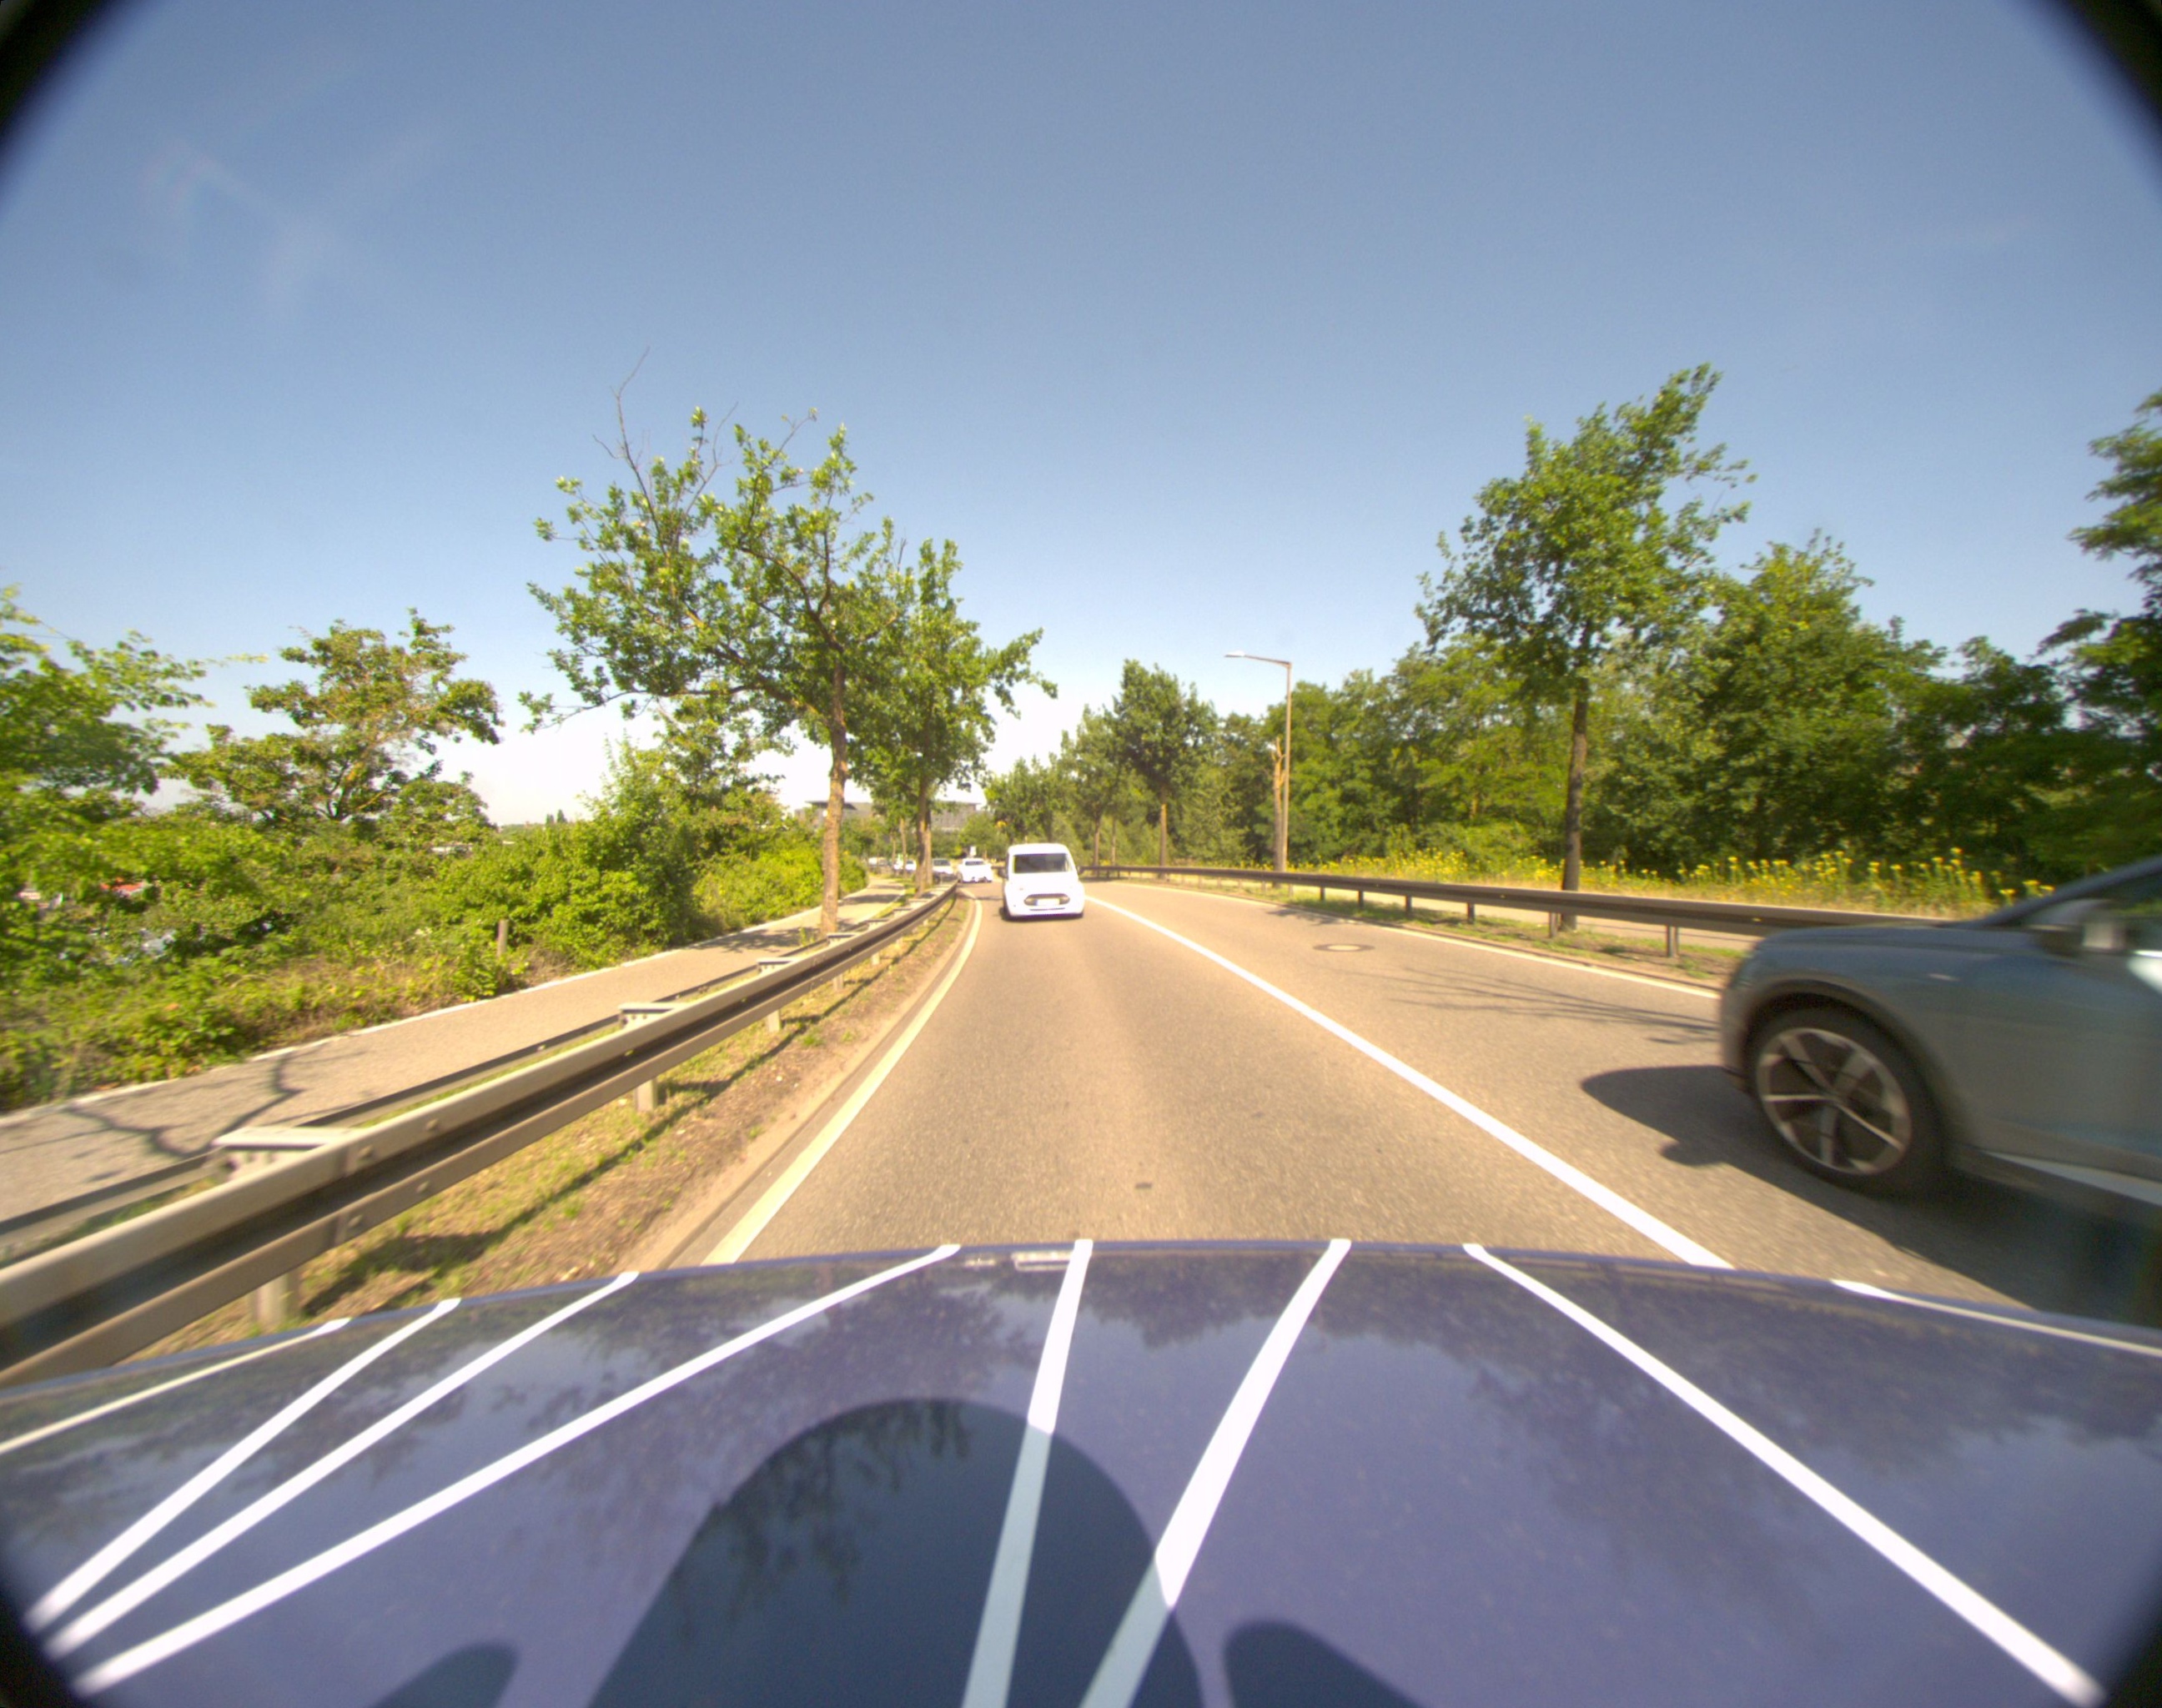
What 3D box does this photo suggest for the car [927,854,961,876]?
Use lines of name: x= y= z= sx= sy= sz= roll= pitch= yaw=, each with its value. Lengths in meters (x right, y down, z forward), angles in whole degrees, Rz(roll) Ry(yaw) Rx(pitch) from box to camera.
car: x=-10.848 y=0.835 z=60.010 sx=2.001 sy=1.576 sz=3.994 roll=-2 pitch=0 yaw=-18

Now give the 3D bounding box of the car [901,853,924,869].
car: x=-19.072 y=0.775 z=85.899 sx=2.001 sy=1.757 sz=3.993 roll=-3 pitch=1 yaw=-19

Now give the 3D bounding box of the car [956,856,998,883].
car: x=-6.326 y=0.909 z=46.059 sx=1.848 sy=1.479 sz=4.146 roll=-2 pitch=0 yaw=-17

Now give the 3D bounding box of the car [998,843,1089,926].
car: x=-1.072 y=0.668 z=19.079 sx=1.898 sy=1.785 sz=4.444 roll=-2 pitch=0 yaw=-7

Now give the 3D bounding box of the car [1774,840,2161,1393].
car: x=4.001 y=0.722 z=1.248 sx=1.935 sy=1.524 sz=4.117 roll=-3 pitch=0 yaw=0
